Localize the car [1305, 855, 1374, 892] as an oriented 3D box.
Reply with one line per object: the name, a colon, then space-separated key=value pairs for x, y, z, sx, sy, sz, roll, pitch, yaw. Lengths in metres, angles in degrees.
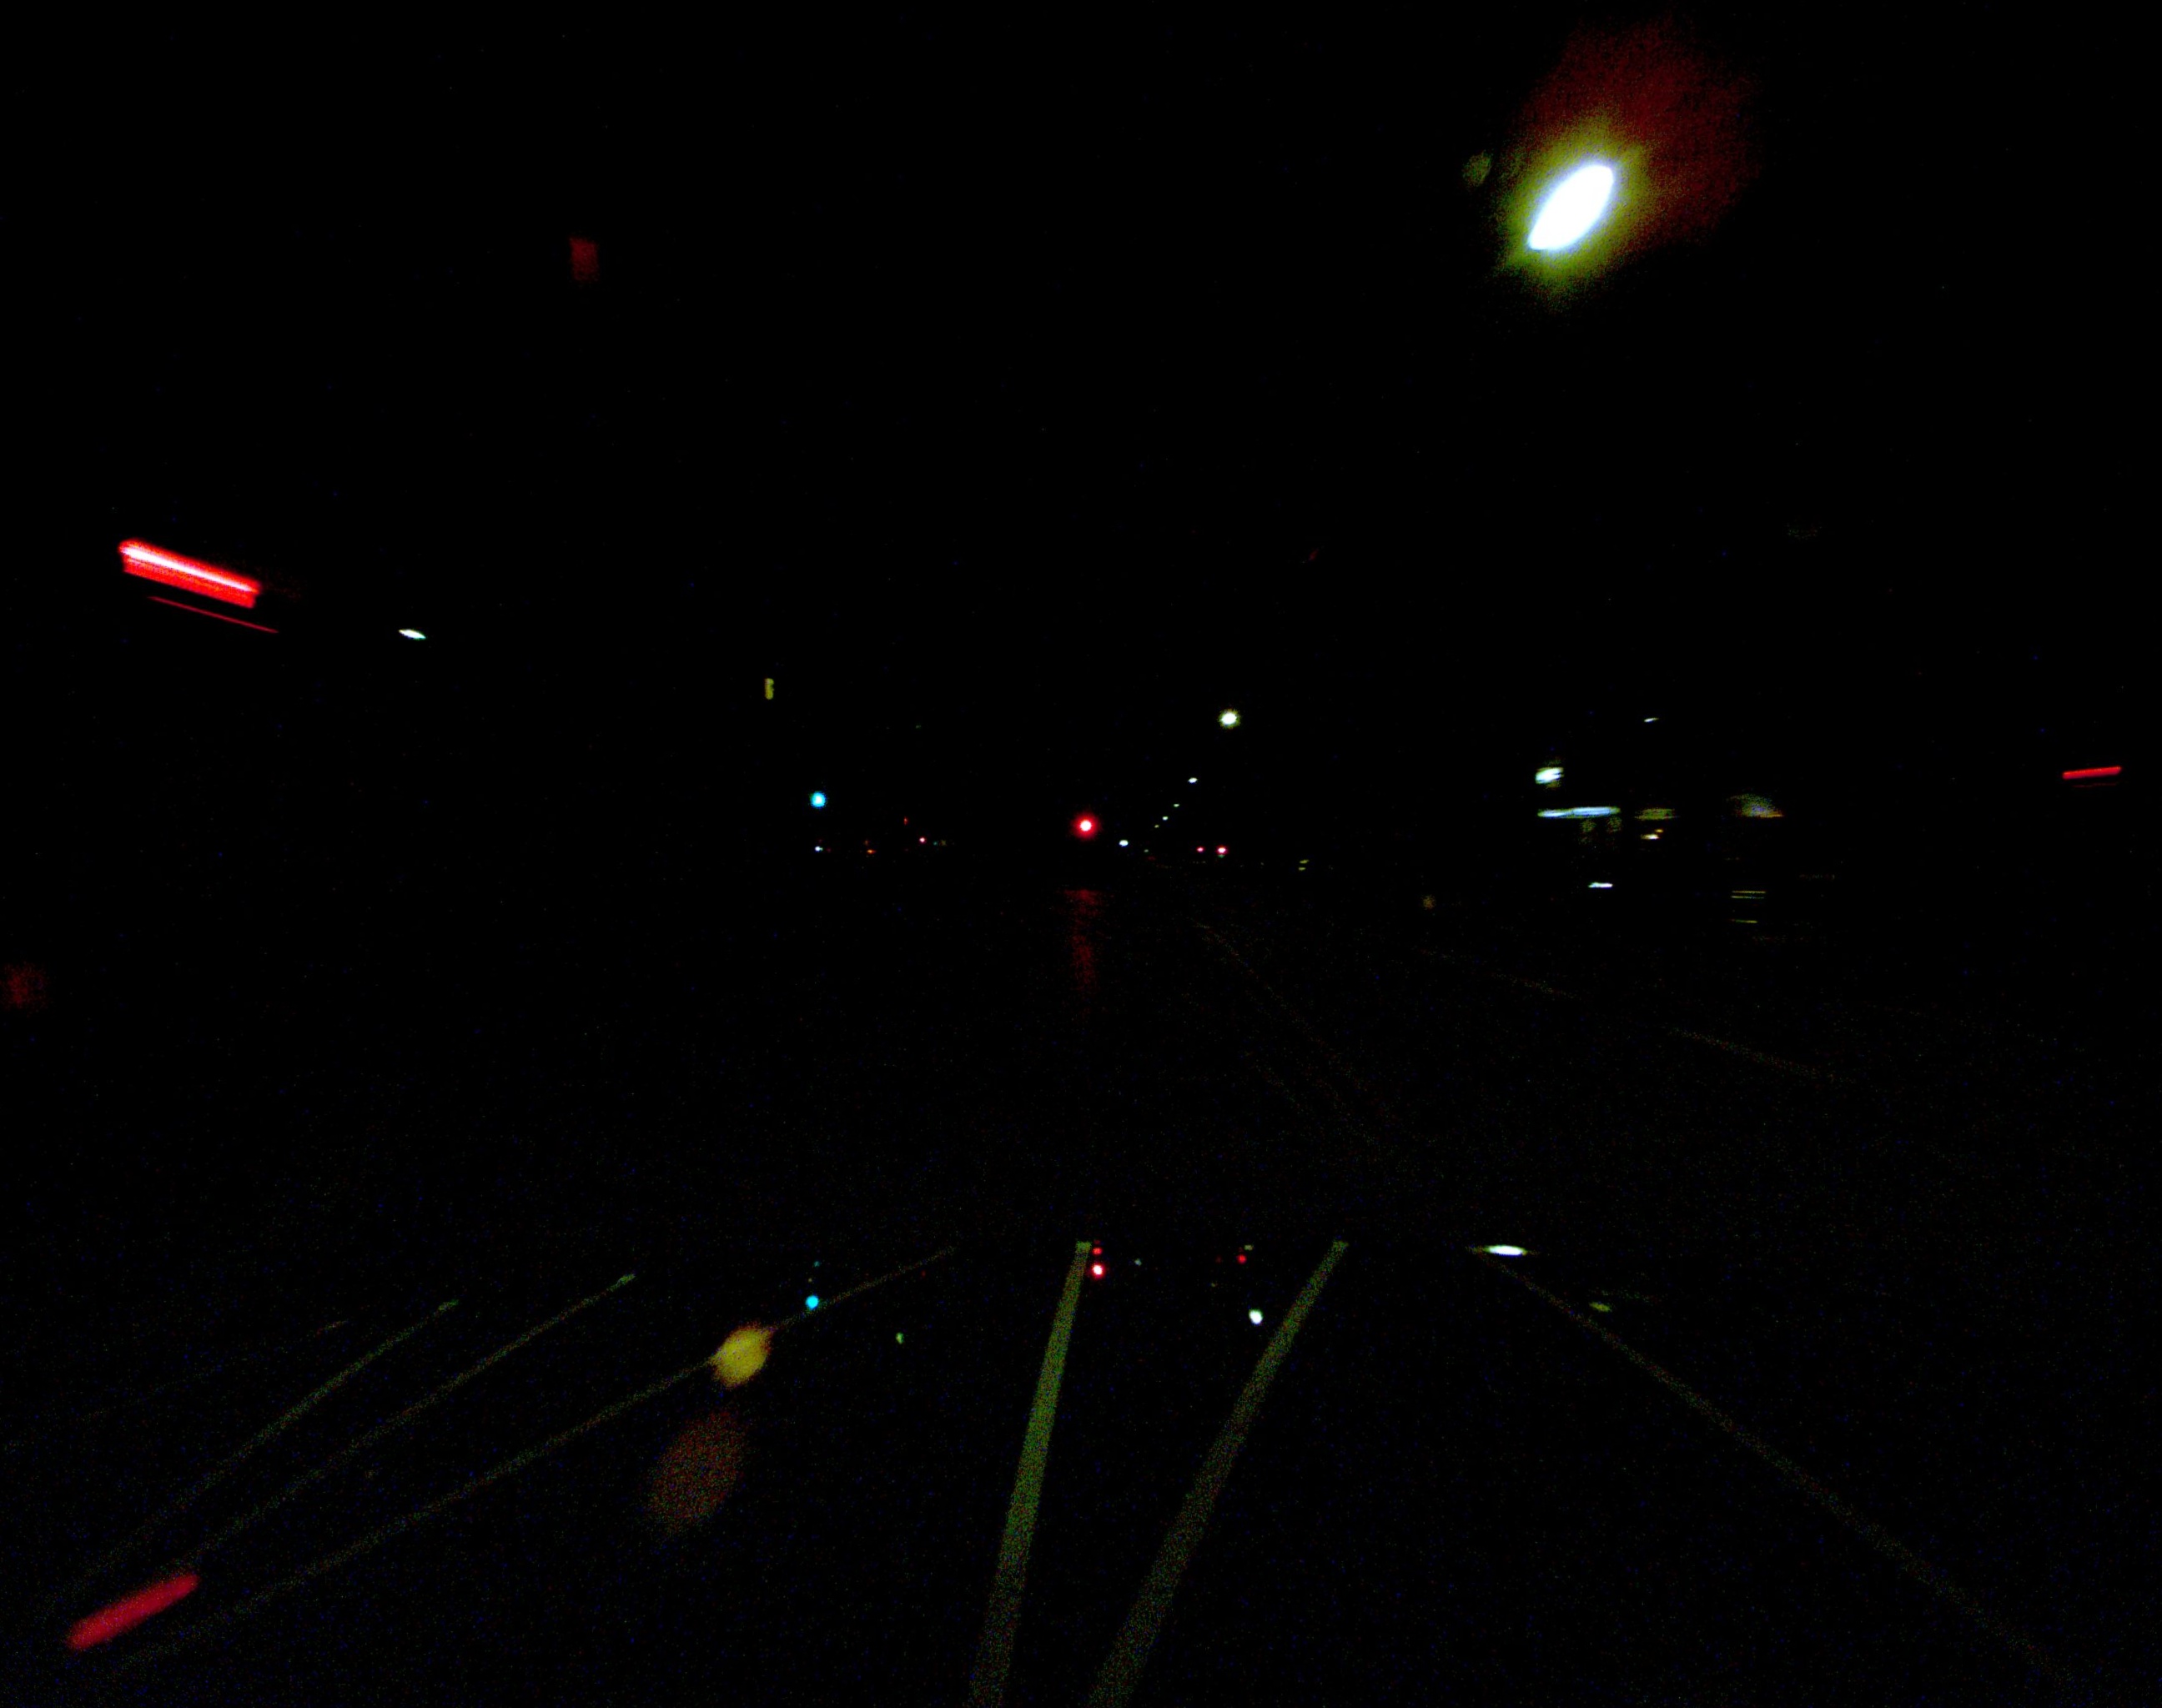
car: x=11.246 y=0.809 z=33.368 sx=1.865 sy=1.425 sz=4.445 roll=-1 pitch=0 yaw=5

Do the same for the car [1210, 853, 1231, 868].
car: x=14.924 y=0.651 z=81.227 sx=1.632 sy=1.455 sz=3.514 roll=1 pitch=1 yaw=1

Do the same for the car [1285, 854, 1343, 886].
car: x=11.701 y=0.771 z=38.452 sx=1.865 sy=1.470 sz=4.474 roll=0 pitch=0 yaw=5

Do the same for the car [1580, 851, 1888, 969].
car: x=10.306 y=0.770 z=12.476 sx=1.890 sy=1.587 sz=4.025 roll=-1 pitch=0 yaw=6

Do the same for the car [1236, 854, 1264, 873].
car: x=13.309 y=0.721 z=59.907 sx=1.555 sy=1.425 sz=4.349 roll=-2 pitch=0 yaw=5

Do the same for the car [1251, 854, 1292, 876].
car: x=12.840 y=0.722 z=51.544 sx=1.865 sy=1.425 sz=4.404 roll=0 pitch=0 yaw=2

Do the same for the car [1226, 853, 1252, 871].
car: x=13.658 y=0.671 z=65.754 sx=1.642 sy=1.425 sz=4.351 roll=-2 pitch=0 yaw=5
